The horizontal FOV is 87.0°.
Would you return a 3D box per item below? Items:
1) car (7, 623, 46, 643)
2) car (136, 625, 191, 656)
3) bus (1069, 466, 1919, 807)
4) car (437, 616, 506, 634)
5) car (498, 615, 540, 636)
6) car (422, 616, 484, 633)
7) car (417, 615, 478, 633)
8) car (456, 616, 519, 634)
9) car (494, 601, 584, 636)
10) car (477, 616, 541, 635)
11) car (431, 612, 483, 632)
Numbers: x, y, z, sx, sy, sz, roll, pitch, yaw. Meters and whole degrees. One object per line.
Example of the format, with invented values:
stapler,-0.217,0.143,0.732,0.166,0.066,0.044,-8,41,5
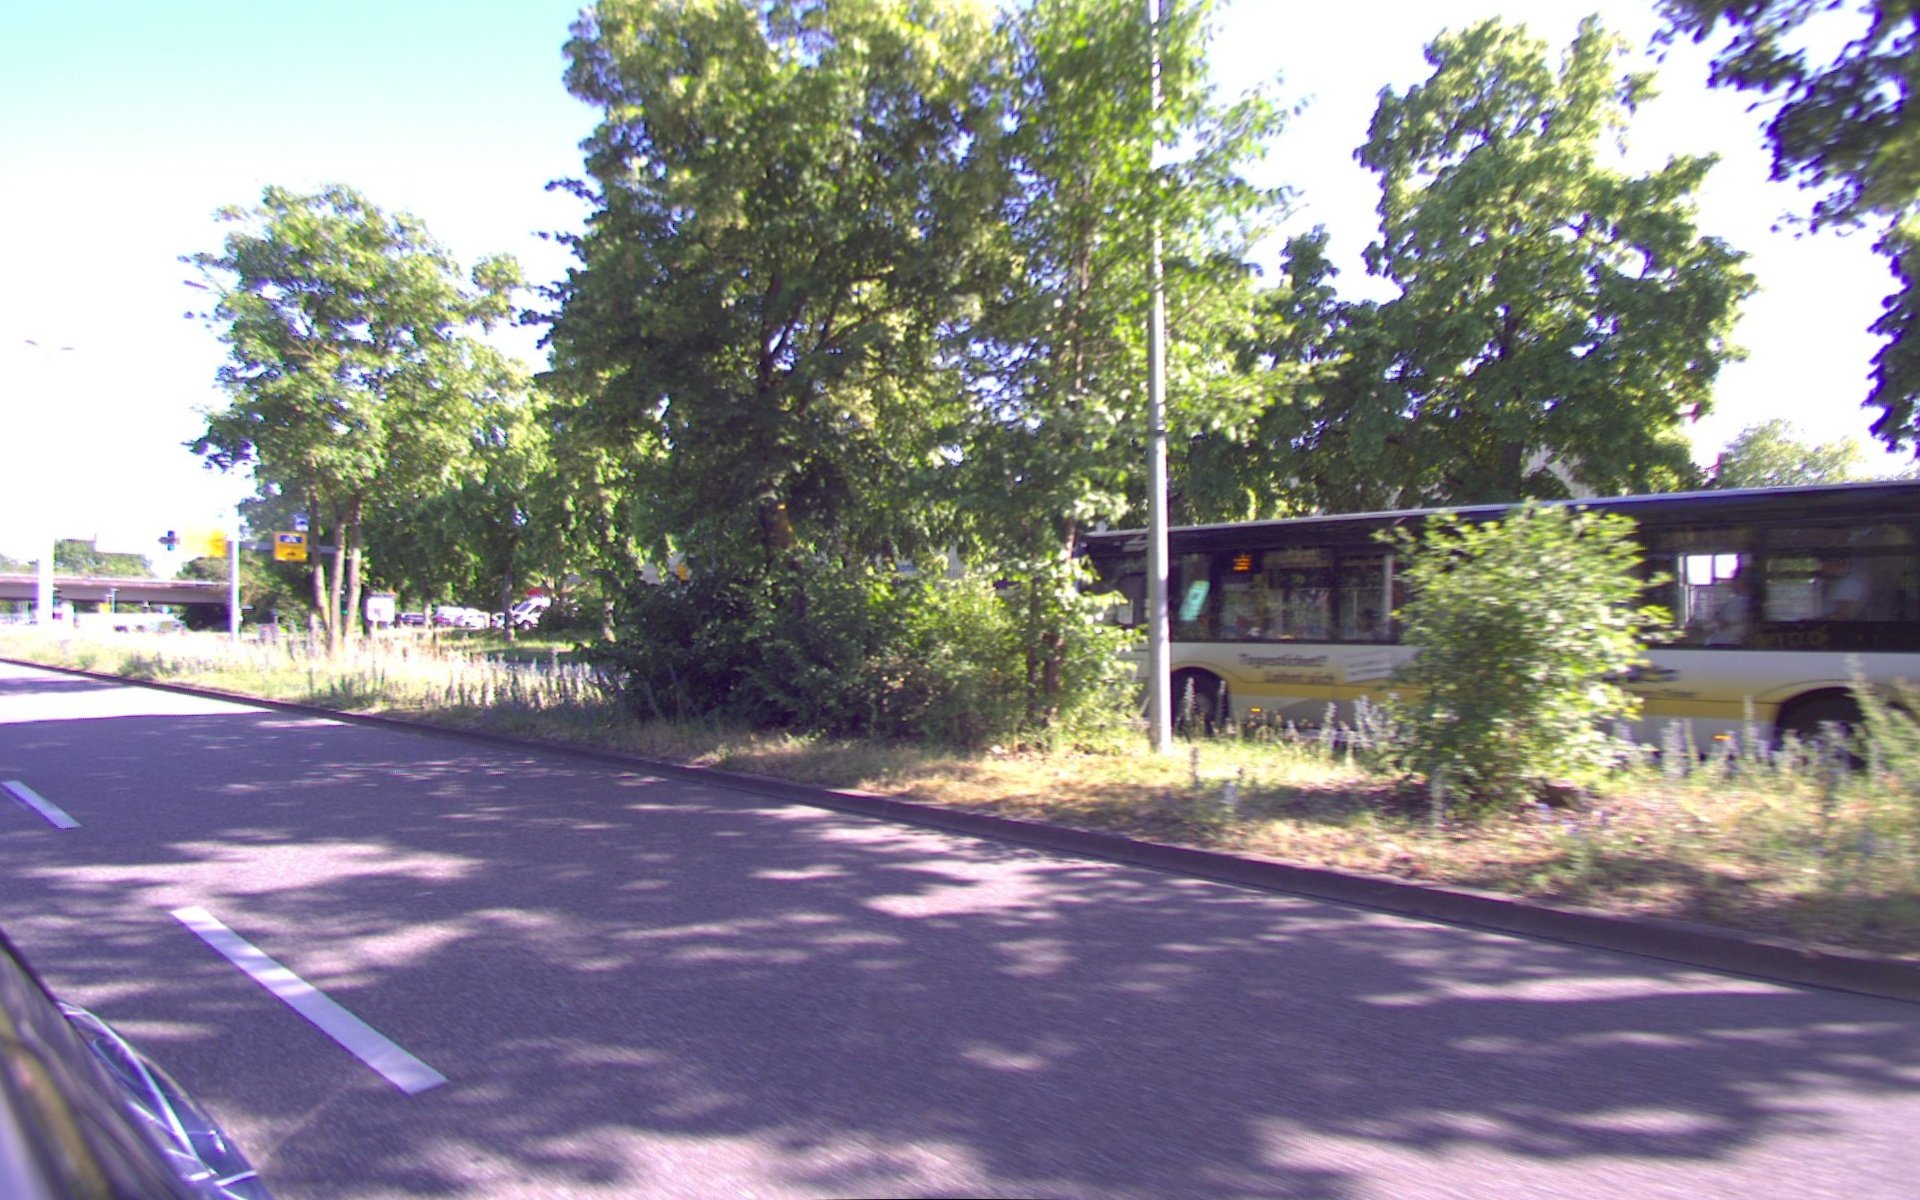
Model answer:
car,-82.840,2.972,89.818,4.626,1.710,1.922,-2,-4,40
car,-47.875,2.400,60.803,4.161,1.760,1.689,-1,-2,39
bus,6.558,0.427,10.854,11.078,2.742,2.693,-2,-5,40
car,-39.198,1.997,81.265,1.945,1.399,4.572,-1,-3,40
car,-41.523,2.400,95.302,5.130,1.971,1.759,-2,-3,44
car,-41.222,2.017,82.408,1.943,1.399,4.080,-1,-3,36
car,-42.671,2.034,84.256,1.944,1.399,4.077,-1,-3,39
car,-37.086,1.991,79.452,1.943,1.399,4.080,-1,-2,36
car,-30.982,1.394,74.681,2.203,2.452,5.823,-1,-3,36
car,-34.824,1.976,78.183,1.943,1.399,4.080,-1,-2,36
car,-55.370,2.402,111.426,4.988,2.168,1.891,0,-2,8
